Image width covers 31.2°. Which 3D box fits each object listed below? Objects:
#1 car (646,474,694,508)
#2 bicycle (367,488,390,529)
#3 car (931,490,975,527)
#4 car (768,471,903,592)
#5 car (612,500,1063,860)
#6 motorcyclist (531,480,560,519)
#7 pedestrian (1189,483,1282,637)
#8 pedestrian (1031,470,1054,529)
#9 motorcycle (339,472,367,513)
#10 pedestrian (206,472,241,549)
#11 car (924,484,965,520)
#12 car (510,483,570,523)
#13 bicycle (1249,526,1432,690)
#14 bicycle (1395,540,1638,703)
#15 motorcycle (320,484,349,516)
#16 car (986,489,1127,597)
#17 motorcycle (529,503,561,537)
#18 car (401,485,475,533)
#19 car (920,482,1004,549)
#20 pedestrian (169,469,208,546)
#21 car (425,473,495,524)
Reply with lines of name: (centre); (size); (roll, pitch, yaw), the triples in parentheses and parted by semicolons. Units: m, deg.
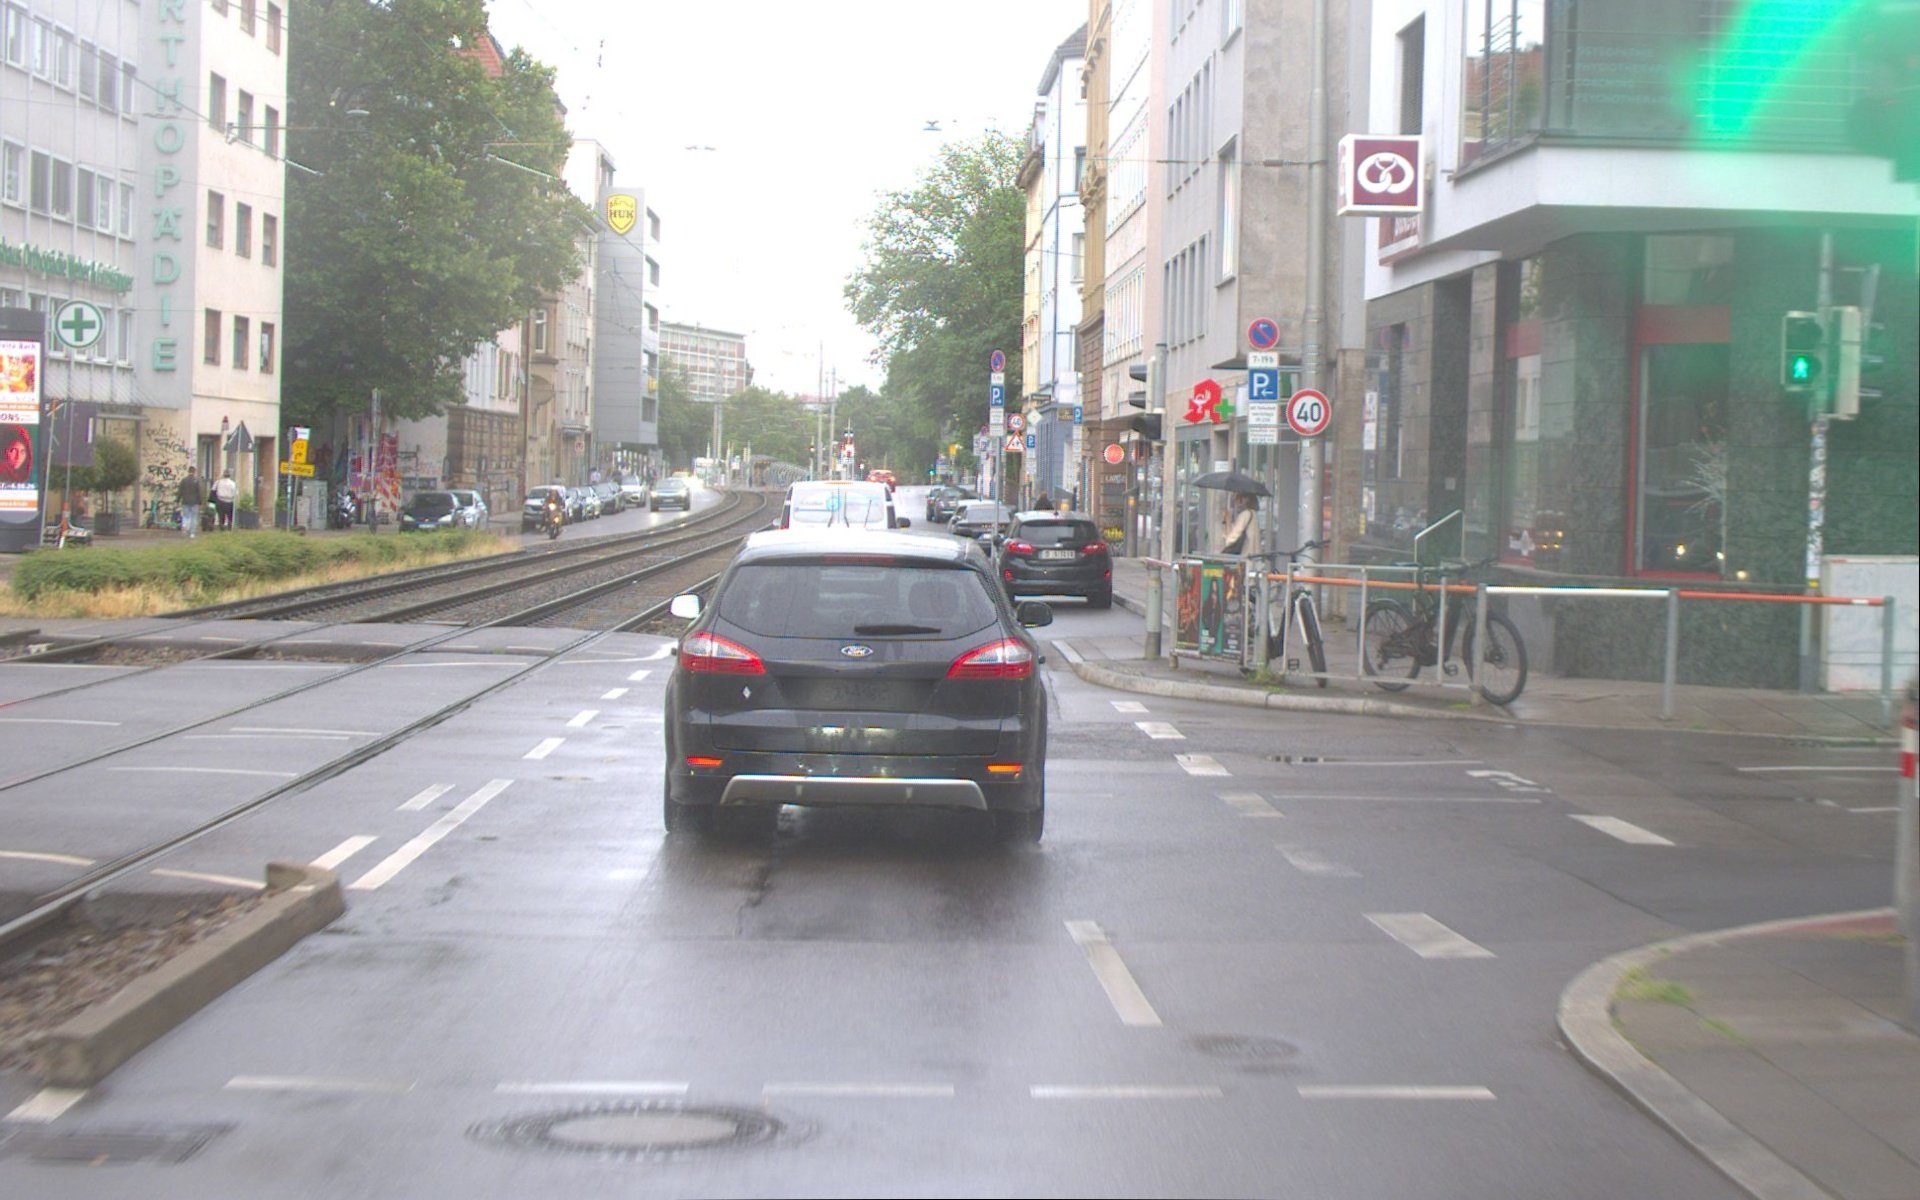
car: (-14.173, -5.330, 168.064); (1.993, 1.514, 4.444); (2, 1, -1)
bicycle: (-17.610, -2.776, 104.088); (0.590, 1.222, 2.404); (1, 2, -8)
car: (-0.303, -3.938, 147.676); (1.738, 1.484, 4.001); (1, 3, -2)
car: (-1.905, -1.087, 53.911); (1.993, 1.810, 4.272); (0, 1, -1)
car: (-0.570, 0.307, 17.436); (1.993, 1.588, 4.272); (1, 1, -1)
motorcyclist: (-13.134, -3.186, 108.937); (0.741, 1.213, 0.970); (2, 2, 1)
pedestrian: (2.853, -0.418, 35.672); (0.659, 1.577, 0.780); (0, 2, -23)
pedestrian: (2.640, -3.231, 110.320); (0.661, 1.845, 0.821); (1, 3, -2)
motorcycle: (-20.765, -3.673, 117.586); (0.639, 1.374, 2.120); (1, 2, -3)
pedestrian: (-18.335, -2.237, 85.601); (0.678, 1.889, 0.743); (1, 2, -1)
car: (-0.705, -4.366, 152.777); (1.642, 1.510, 4.040); (1, 3, -2)
car: (-17.093, -3.967, 140.062); (1.993, 1.513, 4.436); (2, 2, -1)
bicycle: (3.097, 0.048, 28.159); (0.497, 1.254, 1.957); (1, 2, -26)
bicycle: (4.262, 0.147, 26.465); (0.576, 1.153, 1.956); (0, 2, -37)
motorcycle: (-20.904, -3.342, 114.920); (0.639, 1.029, 2.120); (1, 2, -3)
car: (1.447, -0.901, 53.147); (1.993, 1.588, 4.272); (1, 1, -1)
motorcycle: (-13.146, -2.542, 108.986); (0.742, 1.056, 1.931); (2, 2, 1)
car: (-16.221, -2.845, 106.945); (1.744, 1.463, 4.220); (0, 2, -1)
car: (0.014, -2.090, 84.713); (1.993, 1.588, 4.572); (0, 1, -1)
pedestrian: (-19.212, -2.309, 85.640); (0.727, 1.889, 0.983); (1, 2, -1)
car: (-16.248, -3.320, 111.878); (1.721, 1.565, 4.220); (2, 2, -1)
